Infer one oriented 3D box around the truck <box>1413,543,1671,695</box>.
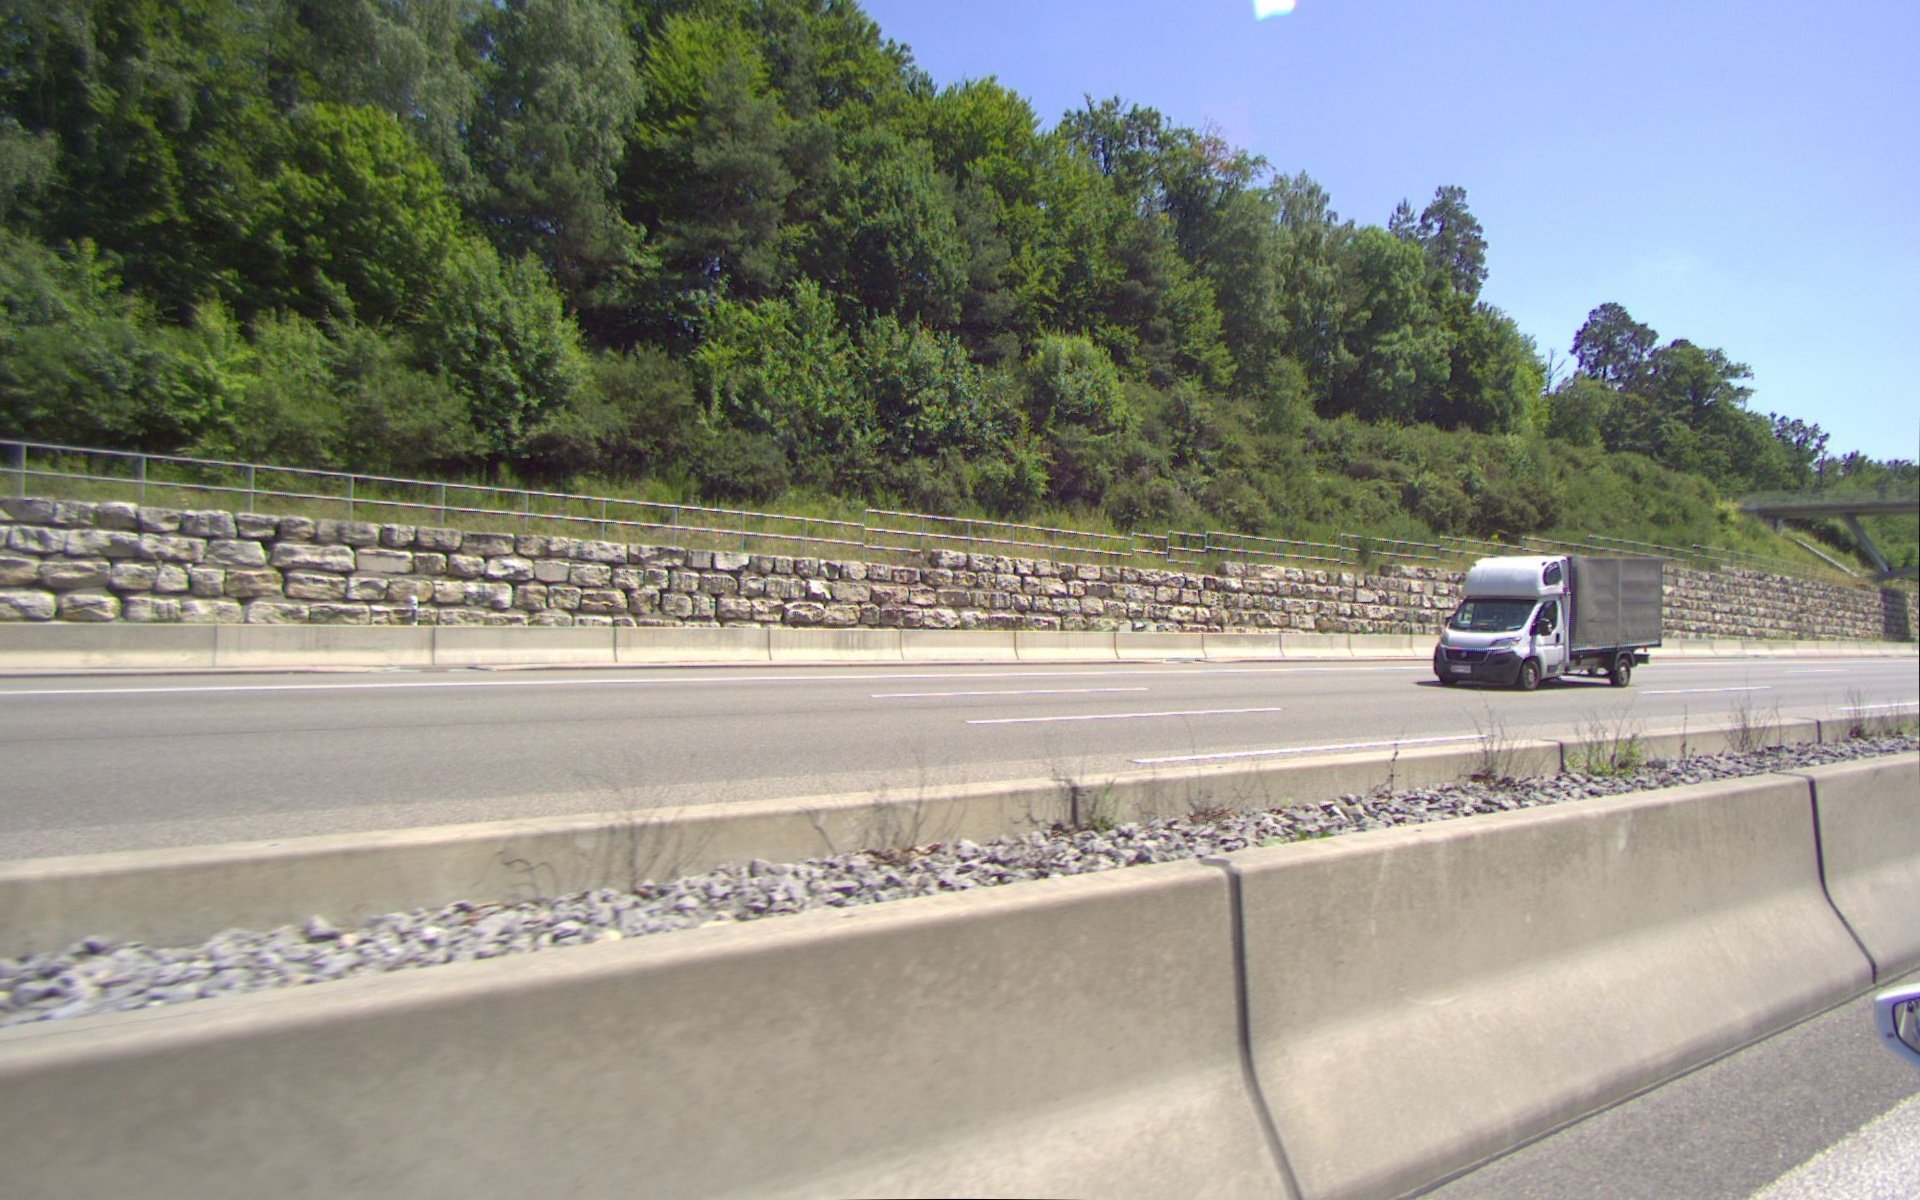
[{"bbox_3d":[13.916,0.427,23.846,6.841,3.185,2.264,1,1,-32],"label":"truck"}]
